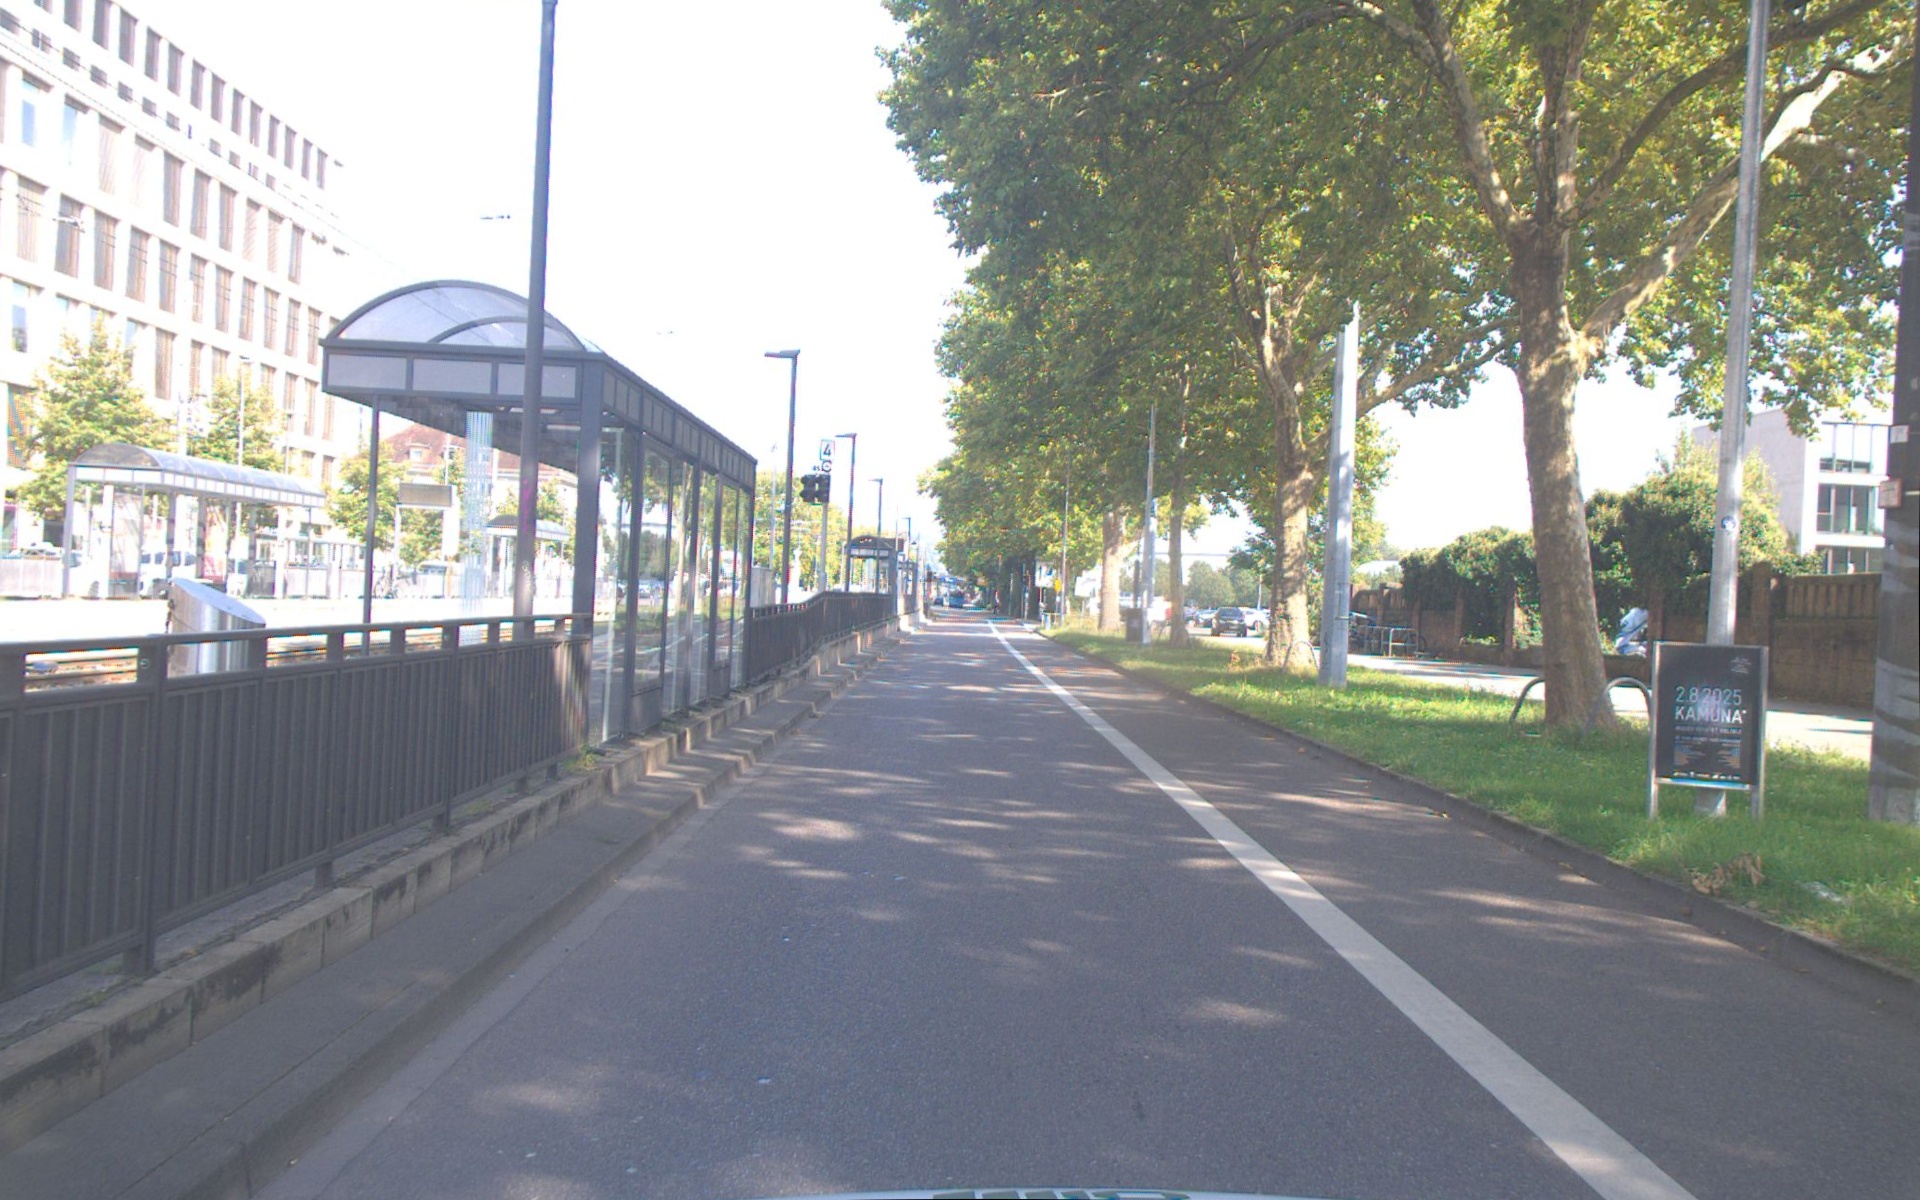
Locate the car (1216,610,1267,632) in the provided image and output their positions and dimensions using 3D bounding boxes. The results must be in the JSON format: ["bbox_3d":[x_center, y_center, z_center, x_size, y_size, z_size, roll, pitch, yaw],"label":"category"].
[{"bbox_3d":[21.231,1.575,124.889,3.695,1.471,1.528,4,0,6],"label":"car"}]

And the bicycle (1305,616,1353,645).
[{"bbox_3d":[12.798,1.056,57.364,0.502,0.986,1.636,1,0,-41],"label":"bicycle"}]

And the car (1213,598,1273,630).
[{"bbox_3d":[16.288,0.805,95.031,1.693,1.708,4.232,2,0,36],"label":"car"}]

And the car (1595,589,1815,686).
[{"bbox_3d":[20.434,0.994,45.557,5.024,2.410,2.131,2,0,3],"label":"car"}]

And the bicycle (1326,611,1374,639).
[{"bbox_3d":[13.965,0.881,59.253,1.622,0.986,0.506,1,0,2],"label":"bicycle"}]

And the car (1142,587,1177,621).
[{"bbox_3d":[13.097,0.259,108.807,1.687,2.084,4.461,2,0,0],"label":"car"}]

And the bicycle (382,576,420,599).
[{"bbox_3d":[-16.818,-0.363,49.780,0.467,0.674,1.614,2,0,4],"label":"bicycle"}]

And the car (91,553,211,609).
[{"bbox_3d":[-24.847,-0.573,50.981,1.609,1.577,4.222,2,0,-1],"label":"car"}]

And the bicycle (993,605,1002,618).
[{"bbox_3d":[3.371,1.002,149.690,0.700,1.127,2.509,3,0,0],"label":"bicycle"}]

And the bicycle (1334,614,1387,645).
[{"bbox_3d":[13.257,0.981,54.759,1.621,0.986,0.506,1,0,5],"label":"bicycle"}]

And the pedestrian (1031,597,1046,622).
[{"bbox_3d":[5.311,0.620,111.946,0.614,1.645,0.841,2,0,37],"label":"pedestrian"}]

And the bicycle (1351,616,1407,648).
[{"bbox_3d":[13.112,1.000,51.761,1.621,0.986,0.506,1,0,5],"label":"bicycle"}]

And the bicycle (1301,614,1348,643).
[{"bbox_3d":[12.840,0.991,58.224,0.502,0.986,1.636,1,0,-41],"label":"bicycle"}]

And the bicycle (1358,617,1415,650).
[{"bbox_3d":[13.123,1.033,50.940,1.622,0.986,0.506,1,0,1],"label":"bicycle"}]

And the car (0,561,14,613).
[{"bbox_3d":[-24.143,-0.337,38.661,1.609,1.275,4.222,2,0,-1],"label":"car"}]

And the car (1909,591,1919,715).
[{"bbox_3d":[20.513,1.138,30.668,4.568,2.358,2.055,4,0,-1],"label":"car"}]

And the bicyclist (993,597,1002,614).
[{"bbox_3d":[3.405,0.473,149.754,0.691,1.486,1.009,3,0,0],"label":"bicyclist"}]
